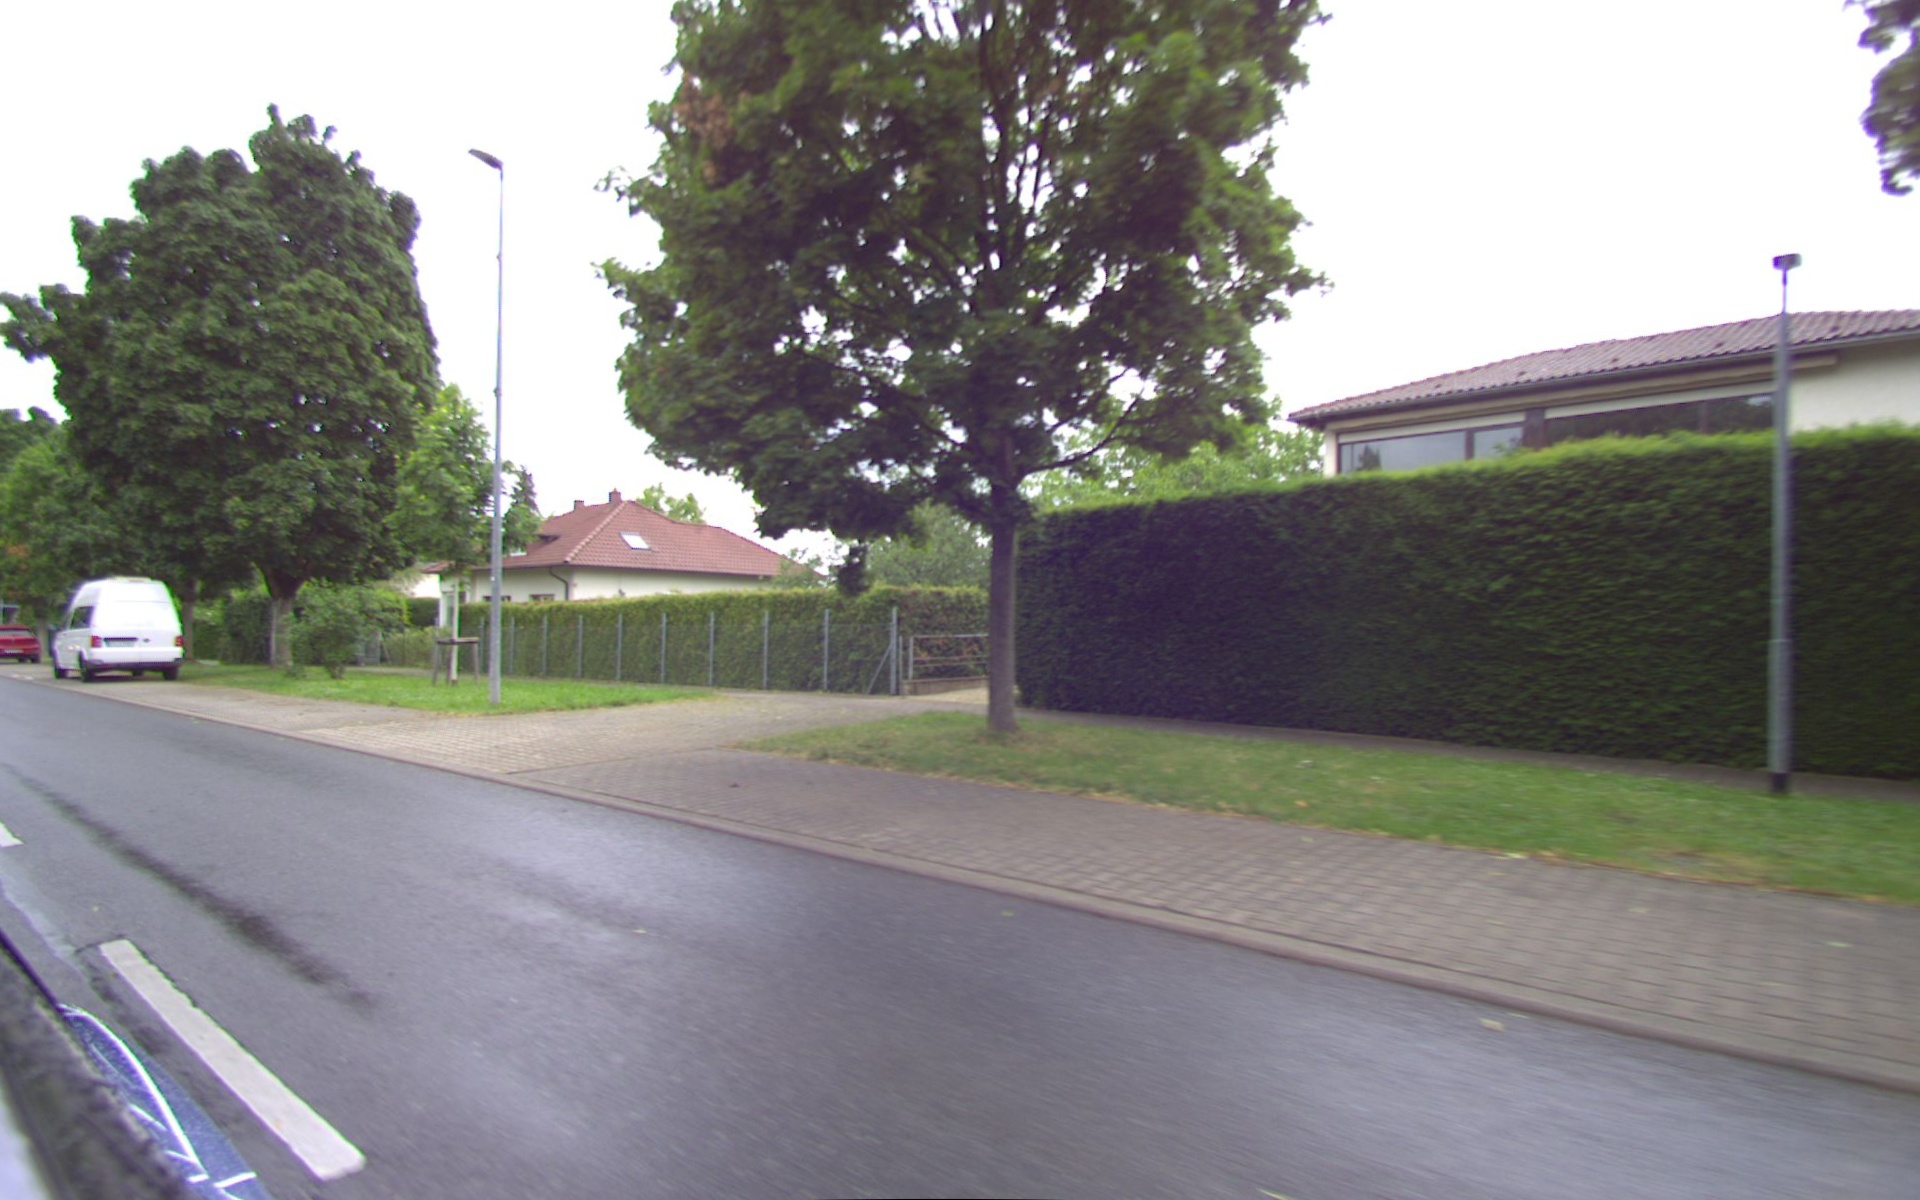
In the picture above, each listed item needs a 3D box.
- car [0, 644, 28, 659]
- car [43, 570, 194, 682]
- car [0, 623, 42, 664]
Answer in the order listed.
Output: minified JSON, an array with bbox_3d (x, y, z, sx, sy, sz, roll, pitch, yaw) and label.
[{"bbox_3d":[-102.367,5.582,107.760,4.369,1.428,1.760,-3,0,-35],"label":"car"},{"bbox_3d":[-21.489,0.677,25.759,5.227,2.580,1.974,-2,-2,39],"label":"car"},{"bbox_3d":[-36.027,1.634,37.905,4.245,1.477,1.825,-2,-2,39],"label":"car"}]
